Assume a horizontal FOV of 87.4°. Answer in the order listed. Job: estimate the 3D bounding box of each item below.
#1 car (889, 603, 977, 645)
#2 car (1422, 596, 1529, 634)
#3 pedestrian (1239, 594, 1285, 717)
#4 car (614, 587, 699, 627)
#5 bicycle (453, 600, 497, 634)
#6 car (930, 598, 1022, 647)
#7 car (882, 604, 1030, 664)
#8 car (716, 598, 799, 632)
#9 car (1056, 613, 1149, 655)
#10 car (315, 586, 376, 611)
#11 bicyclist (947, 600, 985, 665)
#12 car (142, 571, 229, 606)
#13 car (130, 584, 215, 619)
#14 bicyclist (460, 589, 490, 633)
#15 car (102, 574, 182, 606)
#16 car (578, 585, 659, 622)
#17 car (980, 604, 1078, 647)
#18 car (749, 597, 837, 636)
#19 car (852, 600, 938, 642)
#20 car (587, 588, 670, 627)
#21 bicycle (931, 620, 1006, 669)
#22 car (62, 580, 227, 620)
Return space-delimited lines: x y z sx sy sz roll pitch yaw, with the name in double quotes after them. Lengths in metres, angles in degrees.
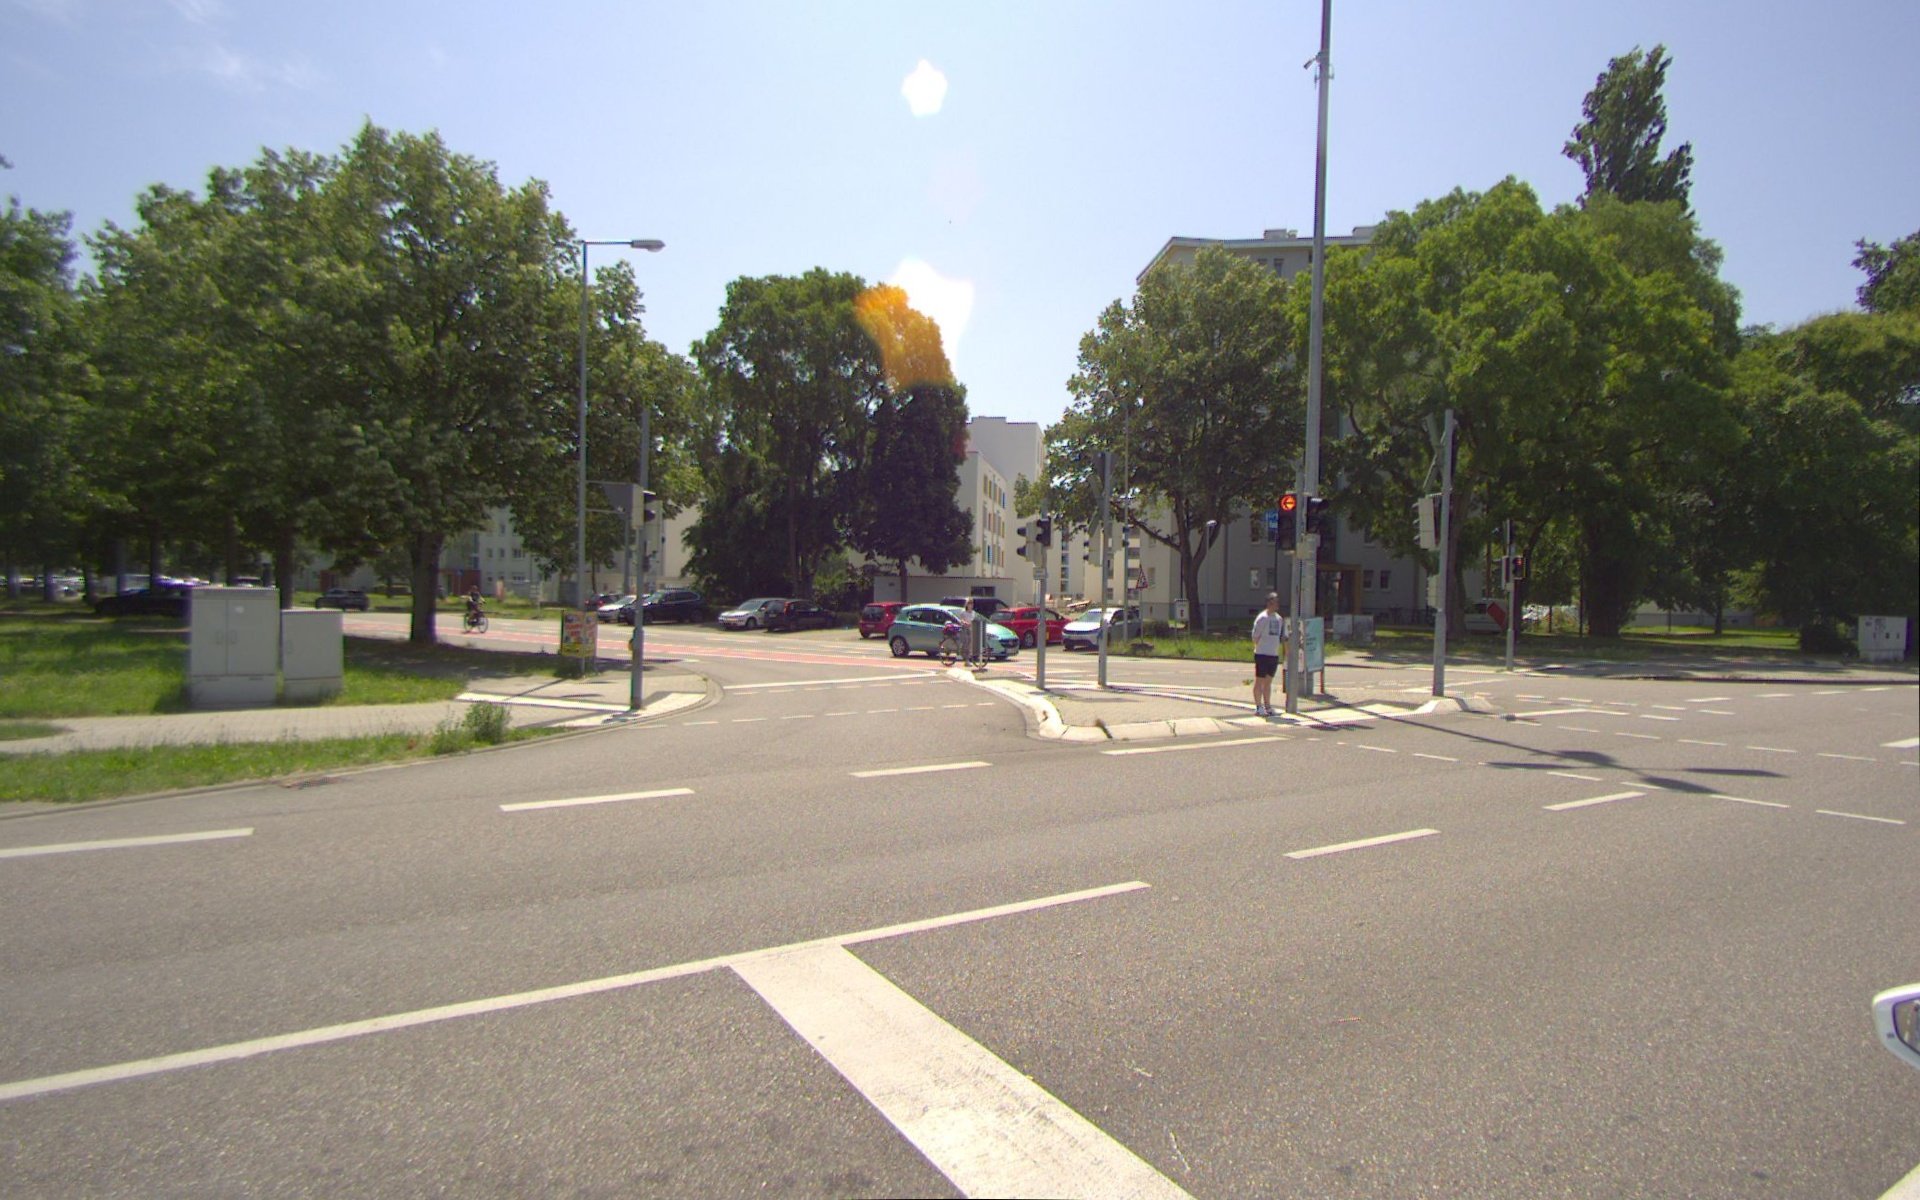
-1.073 0.971 42.077 1.680 1.613 3.989 3 1 33 "car"
26.107 0.761 50.971 4.456 1.791 1.793 1 0 10 "car"
4.270 0.773 14.220 0.481 1.710 0.380 1 1 -34 "pedestrian"
-15.950 0.359 52.942 1.822 1.974 3.984 3 1 37 "car"
-19.364 0.664 40.095 2.028 1.317 0.770 1 1 38 "bicycle"
0.693 0.860 40.579 1.683 1.825 3.984 3 1 37 "car"
-0.147 0.904 28.185 3.834 1.488 1.769 1 0 36 "car"
-9.871 0.730 49.144 1.667 1.583 3.823 1 0 37 "car"
5.331 1.220 37.180 1.604 1.399 3.983 3 1 38 "car"
-40.682 -0.119 66.491 4.556 1.519 1.905 1 0 37 "car"
0.149 0.794 24.853 0.655 1.557 0.629 1 1 38 "bicyclist"
-48.388 -0.709 62.818 1.969 2.041 3.981 6 3 39 "car"
-50.480 0.118 64.416 1.969 2.041 3.981 6 3 39 "car"
-19.372 0.441 40.110 0.883 1.715 0.770 1 1 37 "bicyclist"
-56.248 -0.695 69.119 1.969 2.041 3.981 6 3 39 "car"
-19.408 0.186 57.183 1.822 1.974 3.984 3 1 37 "car"
2.716 0.954 38.834 1.600 1.483 3.976 3 2 43 "car"
-7.902 0.755 47.818 1.823 1.734 3.985 1 0 37 "car"
-2.780 0.898 43.849 1.819 1.690 3.993 1 0 29 "car"
-18.075 0.413 54.913 1.822 1.974 3.984 3 1 37 "car"
0.198 1.085 24.813 1.840 1.108 0.644 1 1 38 "bicycle"
-31.443 0.008 38.861 4.504 1.487 1.995 0 0 -13 "car"
